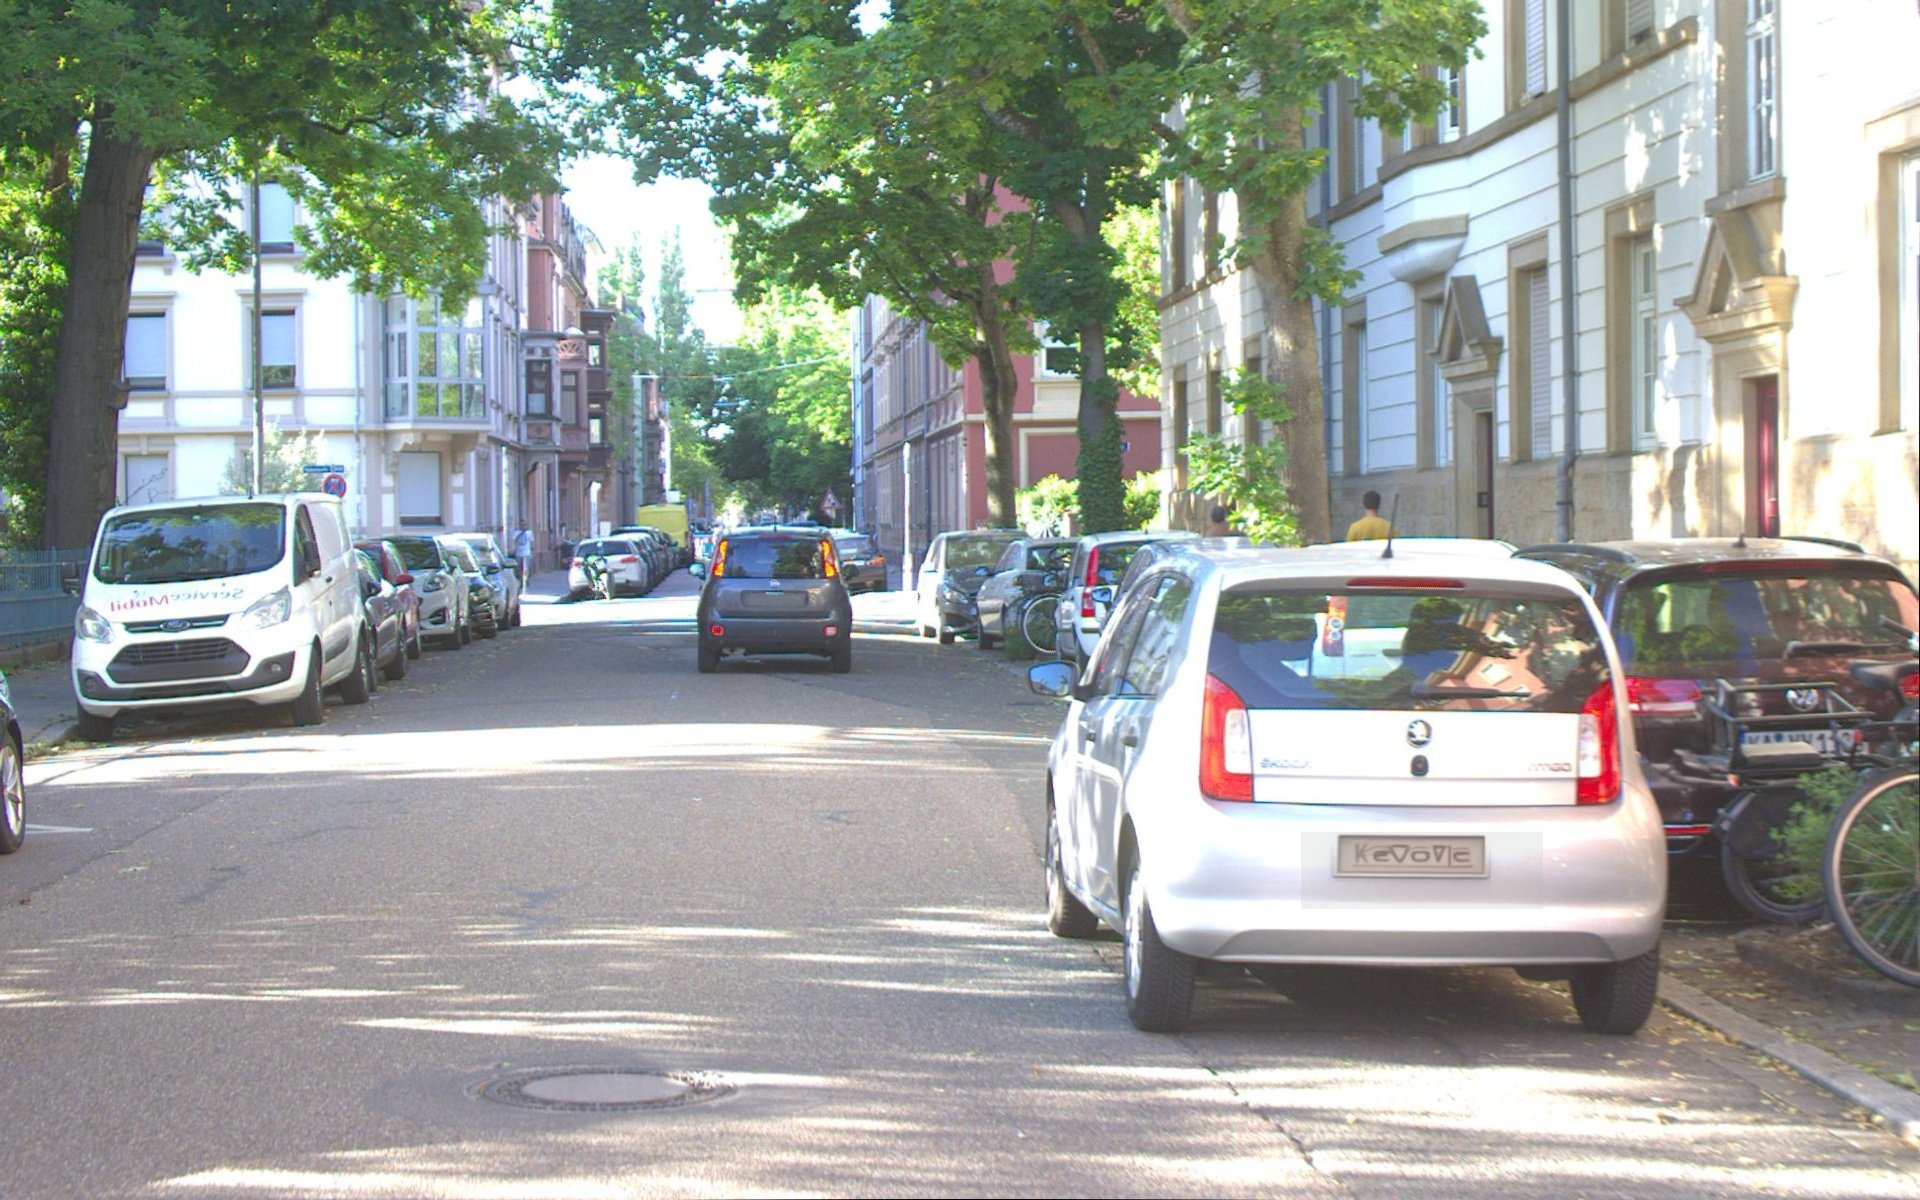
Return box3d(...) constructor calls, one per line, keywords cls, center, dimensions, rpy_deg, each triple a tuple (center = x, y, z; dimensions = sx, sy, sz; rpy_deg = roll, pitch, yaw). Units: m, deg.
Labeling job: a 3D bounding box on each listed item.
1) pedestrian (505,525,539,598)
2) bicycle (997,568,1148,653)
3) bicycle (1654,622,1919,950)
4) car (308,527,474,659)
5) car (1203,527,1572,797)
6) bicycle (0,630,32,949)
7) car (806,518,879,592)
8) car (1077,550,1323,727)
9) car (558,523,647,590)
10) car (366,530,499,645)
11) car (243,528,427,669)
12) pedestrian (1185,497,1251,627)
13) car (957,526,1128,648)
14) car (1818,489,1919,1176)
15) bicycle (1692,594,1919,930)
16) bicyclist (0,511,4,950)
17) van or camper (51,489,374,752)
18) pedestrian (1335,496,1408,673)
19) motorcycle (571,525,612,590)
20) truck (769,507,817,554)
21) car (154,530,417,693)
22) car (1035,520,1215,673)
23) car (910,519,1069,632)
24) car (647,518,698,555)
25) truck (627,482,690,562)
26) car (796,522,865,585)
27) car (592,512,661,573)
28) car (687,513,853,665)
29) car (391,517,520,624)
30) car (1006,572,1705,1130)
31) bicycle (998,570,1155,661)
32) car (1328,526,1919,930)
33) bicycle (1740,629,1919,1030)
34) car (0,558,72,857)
box3d(cls="pedestrian", center=(-11.164, -0.977, 87.565), dimensions=(0.723, 1.833, 0.626), rpy_deg=(1, 2, 8))
box3d(cls="bicycle", center=(1.333, 0.124, 40.998), dimensions=(1.715, 0.946, 0.733), rpy_deg=(-2, 1, -3))
box3d(cls="bicycle", center=(3.026, 0.626, 11.807), dimensions=(1.200, 1.072, 0.298), rpy_deg=(-2, 1, -4))
box3d(cls="car", center=(-7.524, -0.134, 45.798), dimensions=(1.824, 1.548, 4.134), rpy_deg=(-5, 2, -6))
box3d(cls="car", center=(2.571, 0.312, 21.453), dimensions=(1.596, 1.483, 3.749), rpy_deg=(-2, 1, -3))
box3d(cls="bicycle", center=(-3.598, 0.664, 11.315), dimensions=(0.665, 1.073, 1.685), rpy_deg=(0, 1, -1))
box3d(cls="car", center=(-2.764, -1.074, 80.353), dimensions=(1.663, 1.663, 3.757), rpy_deg=(0, 2, -3))
box3d(cls="car", center=(2.047, 0.289, 30.340), dimensions=(1.622, 1.389, 4.158), rpy_deg=(-1, 1, -3))
box3d(cls="car", center=(-8.554, -1.054, 82.502), dimensions=(1.797, 1.427, 3.925), rpy_deg=(-4, 2, -2))
box3d(cls="car", center=(-7.795, -0.228, 50.697), dimensions=(1.746, 1.469, 4.465), rpy_deg=(-5, 2, -9))
box3d(cls="car", center=(-7.298, -0.061, 40.465), dimensions=(1.601, 1.455, 4.028), rpy_deg=(-4, 2, -4))
box3d(cls="pedestrian", center=(3.366, -0.500, 44.937), dimensions=(0.778, 1.688, 0.874), rpy_deg=(0, 1, -1))
box3d(cls="car", center=(1.021, -0.208, 44.405), dimensions=(1.610, 1.473, 3.871), rpy_deg=(-1, 2, -8))
box3d(cls="car", center=(3.468, 0.606, 6.855), dimensions=(1.885, 1.710, 4.945), rpy_deg=(-1, 2, -5))
box3d(cls="bicycle", center=(3.294, 0.556, 12.168), dimensions=(1.307, 1.136, 0.328), rpy_deg=(-2, 1, -3))
box3d(cls="bicyclist", center=(-3.609, 0.453, 11.515), dimensions=(0.651, 1.503, 0.625), rpy_deg=(0, 1, -2))
box3d(cls="van or camper", center=(-6.409, 0.105, 30.078), dimensions=(1.921, 1.973, 5.463), rpy_deg=(-4, 1, -4))
box3d(cls="pedestrian", center=(3.996, -0.157, 33.391), dimensions=(0.595, 1.695, 0.689), rpy_deg=(0, 1, -2))
box3d(cls="motorcycle", center=(-8.487, -0.994, 79.203), dimensions=(0.696, 1.455, 1.751), rpy_deg=(-2, 2, -13))
box3d(cls="truck", center=(-7.237, -3.044, 148.977), dimensions=(1.993, 1.985, 4.001), rpy_deg=(-1, 2, -4))
box3d(cls="car", center=(-6.894, 0.065, 35.578), dimensions=(2.000, 1.452, 4.607), rpy_deg=(-3, 2, -3))
box3d(cls="car", center=(1.694, -0.078, 36.258), dimensions=(1.520, 1.505, 3.544), rpy_deg=(-1, 1, -3))
box3d(cls="car", center=(0.380, -0.382, 49.797), dimensions=(1.788, 1.545, 4.411), rpy_deg=(-1, 1, -6))
box3d(cls="car", center=(-12.556, -2.792, 150.258), dimensions=(1.961, 1.474, 3.925), rpy_deg=(-4, 2, -2))
box3d(cls="truck", center=(-11.811, -3.075, 134.998), dimensions=(2.070, 2.916, 5.069), rpy_deg=(-4, 2, -3))
box3d(cls="car", center=(-3.209, -1.169, 84.829), dimensions=(1.663, 1.500, 3.757), rpy_deg=(0, 2, -3))
box3d(cls="car", center=(-10.060, -1.754, 104.010), dimensions=(1.775, 1.693, 3.925), rpy_deg=(-4, 2, -2))
box3d(cls="car", center=(-2.063, -0.155, 36.636), dimensions=(1.632, 1.545, 3.265), rpy_deg=(0, 1, -6))
box3d(cls="car", center=(-8.146, -0.507, 55.782), dimensions=(1.696, 1.545, 3.920), rpy_deg=(-4, 2, -4))
box3d(cls="car", center=(1.172, 0.710, 11.819), dimensions=(1.678, 1.539, 3.801), rpy_deg=(0, 1, -4))
box3d(cls="bicycle", center=(1.345, 0.177, 39.775), dimensions=(1.769, 1.036, 0.606), rpy_deg=(0, 1, -3))
box3d(cls="car", center=(2.927, 0.437, 15.241), dimensions=(1.786, 1.508, 4.461), rpy_deg=(0, 1, -4))
box3d(cls="bicycle", center=(3.430, 0.665, 10.723), dimensions=(1.810, 1.163, 0.569), rpy_deg=(-3, 1, -4))
box3d(cls="car", center=(-5.371, 0.594, 15.587), dimensions=(1.713, 1.390, 4.781), rpy_deg=(-5, 2, -5))
